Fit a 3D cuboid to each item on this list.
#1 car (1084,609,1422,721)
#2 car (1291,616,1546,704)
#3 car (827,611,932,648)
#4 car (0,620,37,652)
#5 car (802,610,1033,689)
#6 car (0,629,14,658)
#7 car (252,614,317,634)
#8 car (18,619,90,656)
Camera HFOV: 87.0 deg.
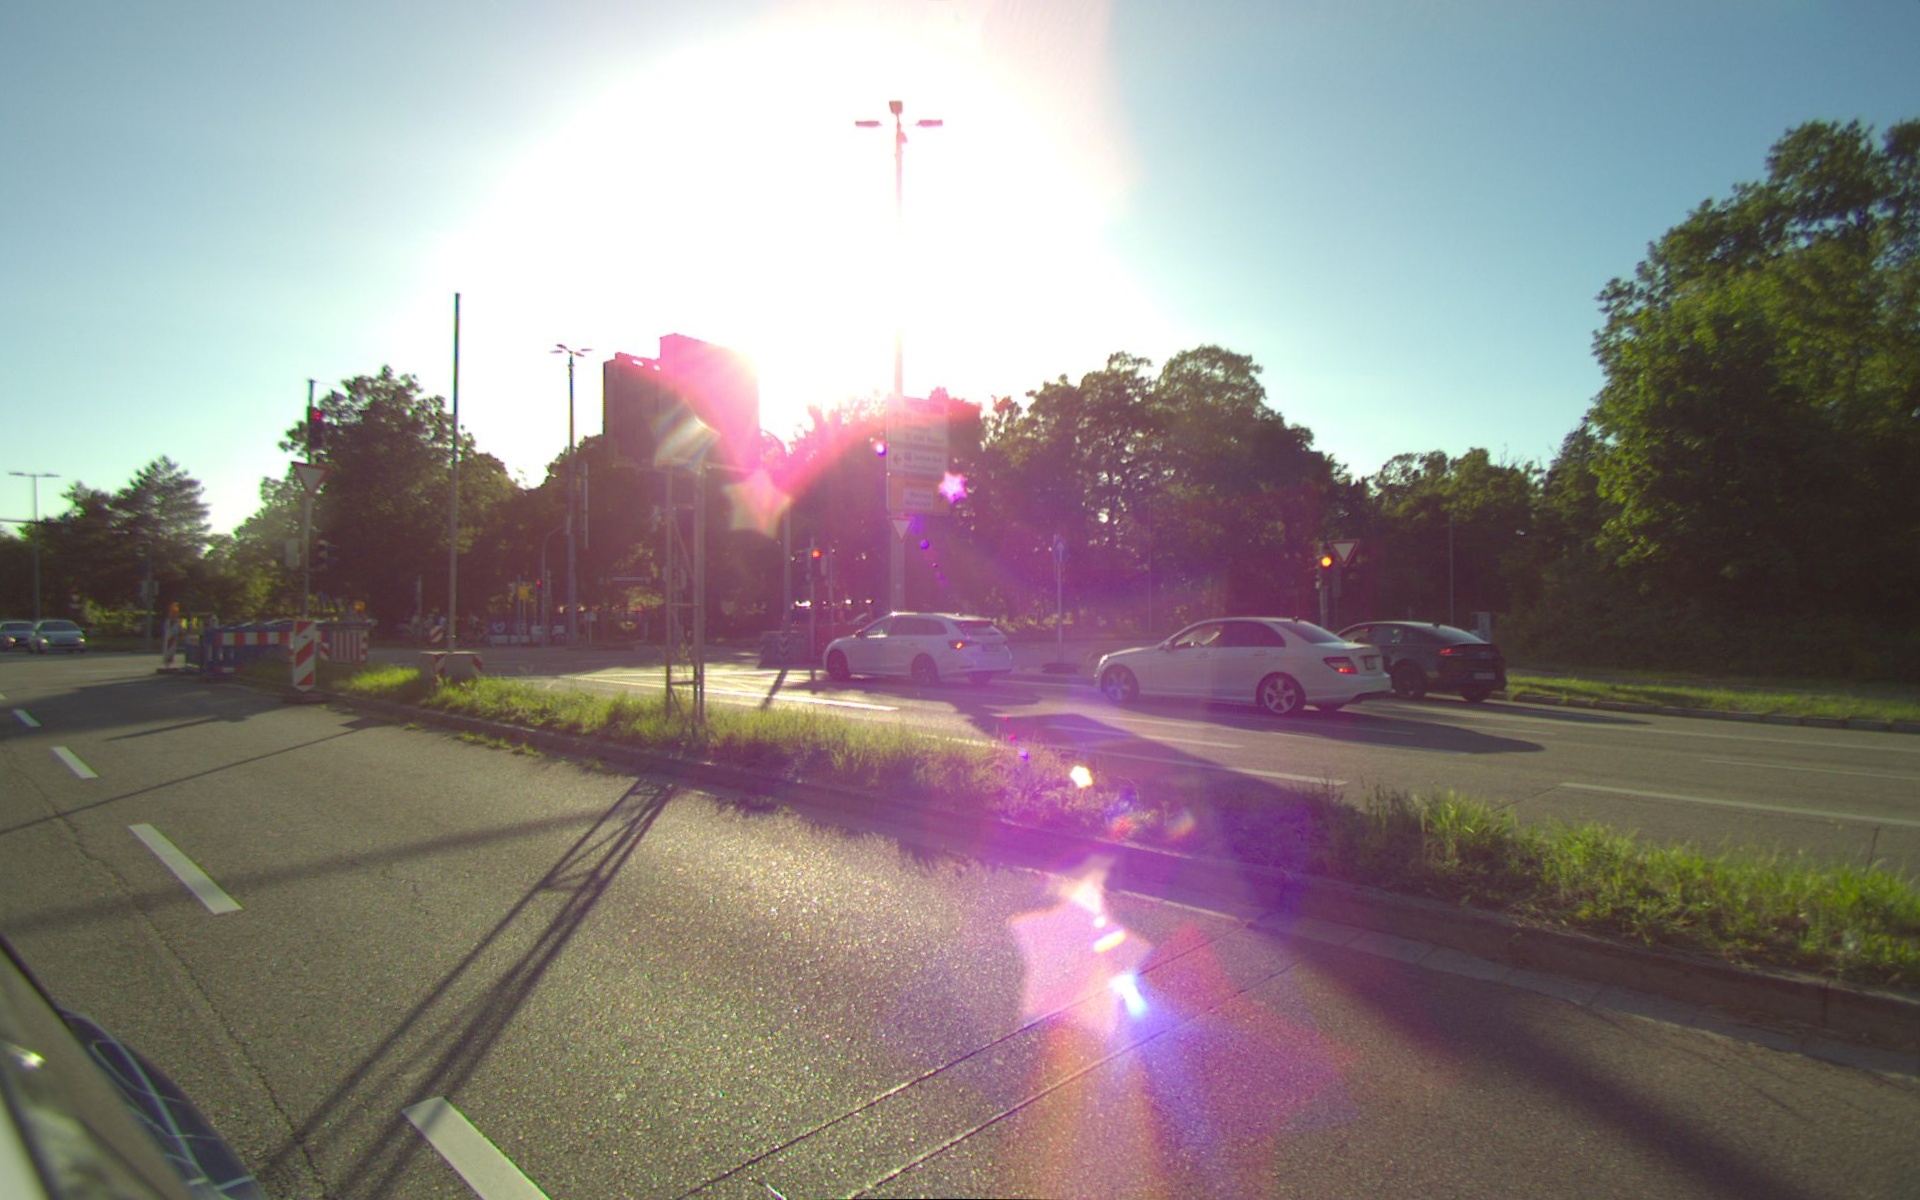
[{"bbox_3d":[4.353,0.908,15.579,4.650,1.462,1.971,-1,-2,45],"label":"car"},{"bbox_3d":[8.576,1.064,19.489,1.966,1.462,4.660,0,-1,-14],"label":"car"},{"bbox_3d":[-3.914,1.419,49.366,4.660,1.700,2.006,0,-1,-28],"label":"car"},{"bbox_3d":[-48.581,1.811,51.564,3.999,1.530,1.972,0,0,42],"label":"car"},{"bbox_3d":[-0.984,0.971,21.037,4.842,1.462,1.972,-1,-2,43],"label":"car"},{"bbox_3d":[-54.480,2.435,56.642,3.999,1.530,1.972,0,0,42],"label":"car"},{"bbox_3d":[-55.467,1.972,83.157,1.992,1.530,3.959,0,0,30],"label":"car"},{"bbox_3d":[-40.107,1.645,44.781,3.999,1.530,1.972,-1,-1,42],"label":"car"}]
